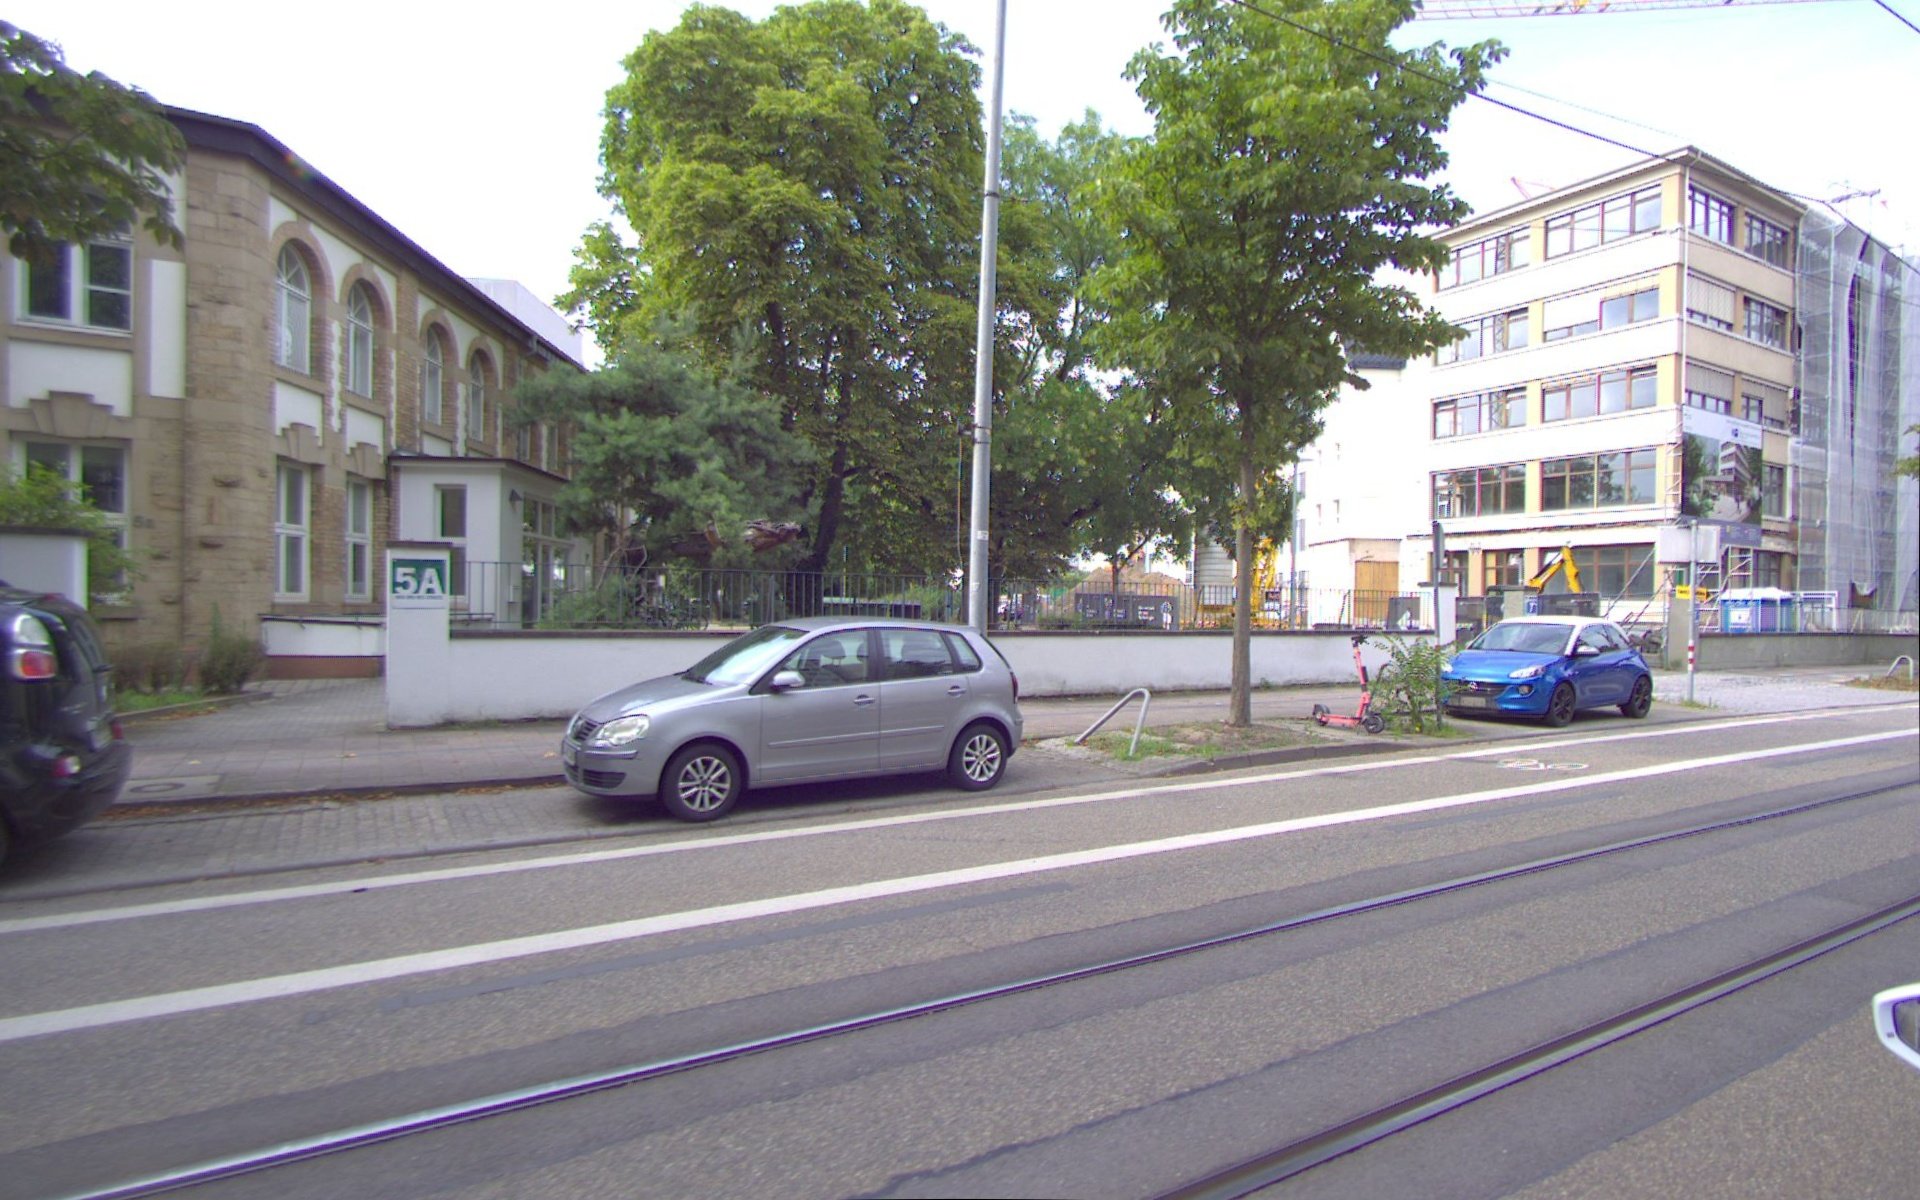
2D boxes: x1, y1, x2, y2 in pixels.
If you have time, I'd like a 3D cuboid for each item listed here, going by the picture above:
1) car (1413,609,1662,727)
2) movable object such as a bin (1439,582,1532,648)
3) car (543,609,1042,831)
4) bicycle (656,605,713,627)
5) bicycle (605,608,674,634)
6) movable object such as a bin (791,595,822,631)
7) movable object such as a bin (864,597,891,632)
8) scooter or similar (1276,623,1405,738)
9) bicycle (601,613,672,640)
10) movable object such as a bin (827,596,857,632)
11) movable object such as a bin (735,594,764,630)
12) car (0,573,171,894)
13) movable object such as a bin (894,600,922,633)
[{"bbox_3d":[8.599,0.932,14.909,3.636,1.507,1.684,1,1,-32],"label":"car"},{"bbox_3d":[17.306,0.479,33.107,1.936,2.095,1.978,1,0,-29],"label":"movable object such as a bin"},{"bbox_3d":[-1.345,0.842,8.507,3.825,1.447,1.684,1,1,-32],"label":"car"},{"bbox_3d":[-10.439,0.601,38.087,2.011,0.783,0.713,1,1,-11],"label":"bicycle"},{"bbox_3d":[-10.229,0.677,32.112,2.011,0.783,0.713,1,1,-11],"label":"bicycle"},{"bbox_3d":[-6.196,0.529,40.598,1.181,1.393,0.970,1,1,-5],"label":"movable object such as a bin"},{"bbox_3d":[-3.357,0.583,40.764,1.073,1.393,0.860,1,1,-5],"label":"movable object such as a bin"},{"bbox_3d":[4.798,0.972,12.746,0.691,1.362,1.437,1,-1,-29],"label":"scooter or similar"},{"bbox_3d":[-10.011,0.808,31.178,2.011,0.783,0.713,1,1,-11],"label":"bicycle"},{"bbox_3d":[-4.780,0.555,40.769,1.181,1.393,0.860,1,1,-5],"label":"movable object such as a bin"},{"bbox_3d":[-8.485,0.485,40.492,1.001,1.393,0.970,1,1,-5],"label":"movable object such as a bin"},{"bbox_3d":[-6.735,0.665,5.169,4.007,1.669,1.746,1,1,-32],"label":"car"},{"bbox_3d":[-2.116,0.661,40.581,1.073,1.290,0.860,1,1,-5],"label":"movable object such as a bin"}]
